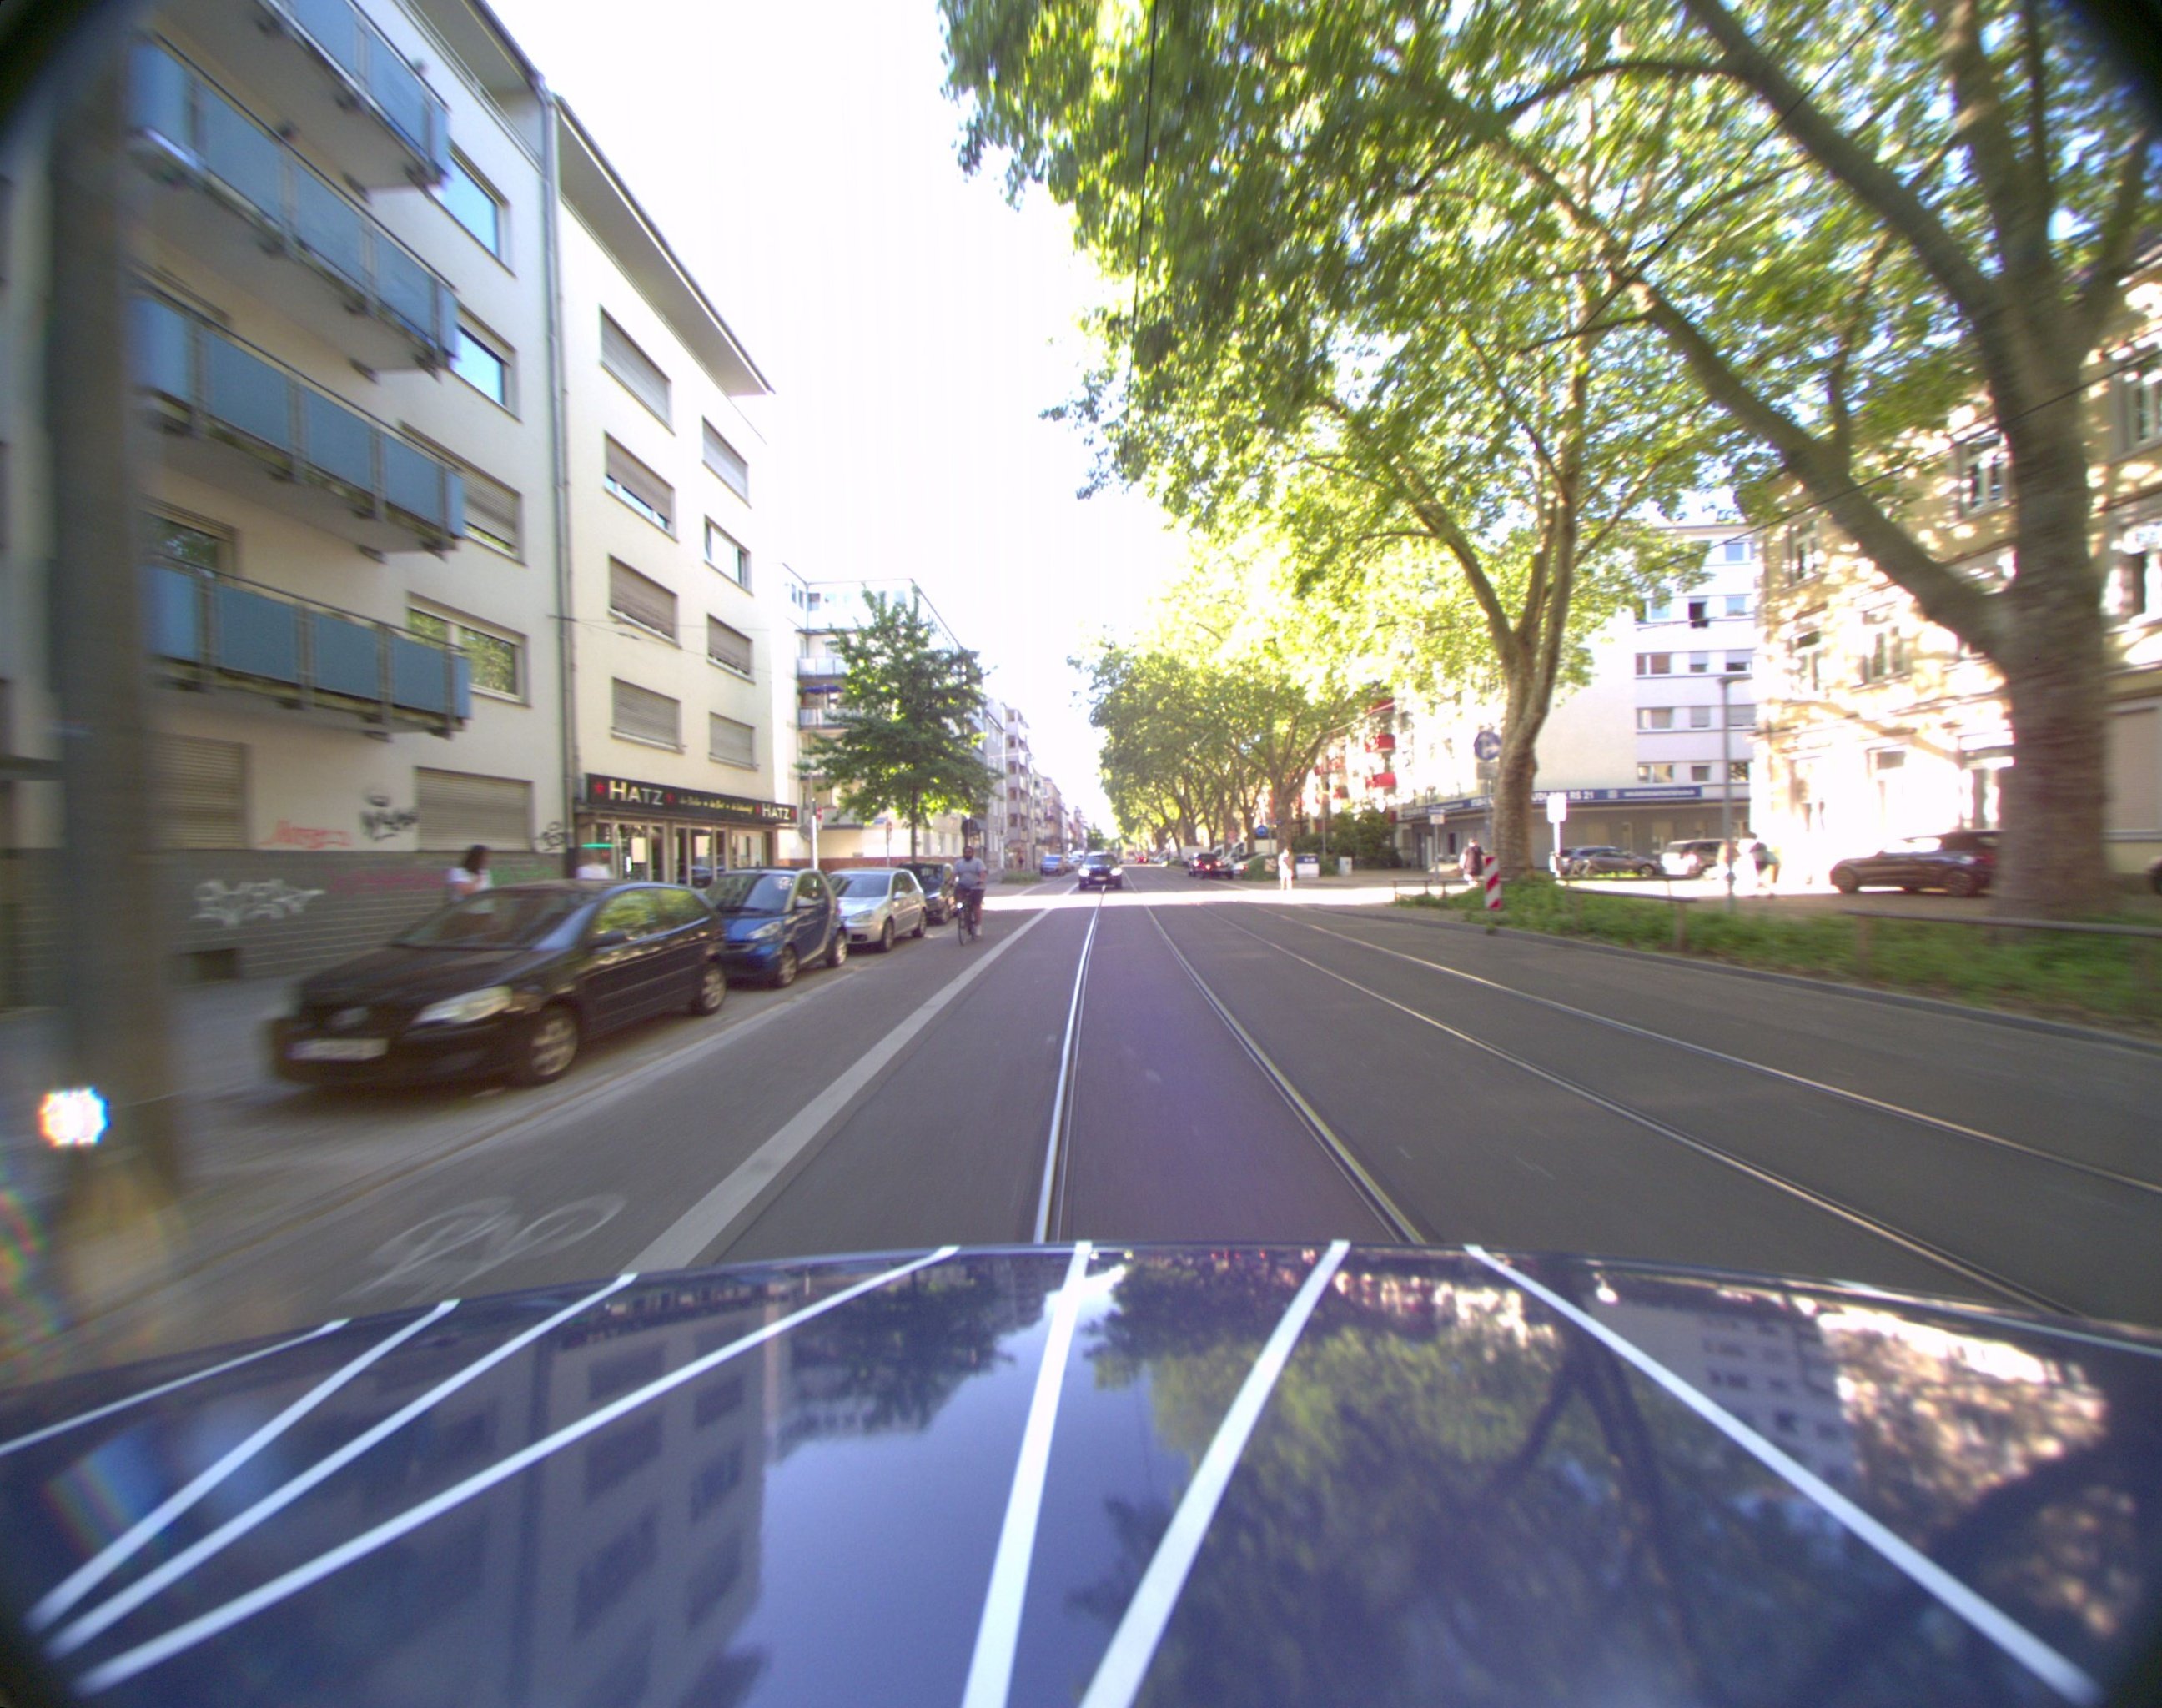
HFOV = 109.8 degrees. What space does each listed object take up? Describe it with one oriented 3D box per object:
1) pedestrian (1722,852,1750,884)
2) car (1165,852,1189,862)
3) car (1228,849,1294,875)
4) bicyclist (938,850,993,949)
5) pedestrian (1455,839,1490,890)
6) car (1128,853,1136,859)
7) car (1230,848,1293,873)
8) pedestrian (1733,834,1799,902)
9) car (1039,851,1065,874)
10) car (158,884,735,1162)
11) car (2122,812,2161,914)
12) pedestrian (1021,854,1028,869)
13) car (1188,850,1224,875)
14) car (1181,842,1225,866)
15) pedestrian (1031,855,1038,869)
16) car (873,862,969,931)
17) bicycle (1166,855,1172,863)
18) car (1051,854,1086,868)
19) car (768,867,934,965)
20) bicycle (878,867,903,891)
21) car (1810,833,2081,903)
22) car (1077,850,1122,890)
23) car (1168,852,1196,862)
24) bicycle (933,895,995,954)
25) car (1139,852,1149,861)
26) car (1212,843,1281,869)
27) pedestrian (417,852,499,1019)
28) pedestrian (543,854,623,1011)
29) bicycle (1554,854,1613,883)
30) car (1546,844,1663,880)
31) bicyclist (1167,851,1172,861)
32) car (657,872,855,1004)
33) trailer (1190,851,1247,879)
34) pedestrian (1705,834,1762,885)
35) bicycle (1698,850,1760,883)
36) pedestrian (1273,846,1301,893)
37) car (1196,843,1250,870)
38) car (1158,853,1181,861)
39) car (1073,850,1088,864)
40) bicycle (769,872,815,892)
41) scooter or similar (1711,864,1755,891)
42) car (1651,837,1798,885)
[{"bbox_3d":[21.538,0.449,24.979,0.544,1.034,0.545,-3,1,-31],"label":"pedestrian"},{"bbox_3d":[17.081,0.523,135.095,3.997,1.458,2.000,-2,1,1],"label":"car"},{"bbox_3d":[12.265,0.539,51.951,3.997,1.600,1.909,-2,1,1],"label":"car"},{"bbox_3d":[-2.235,0.852,14.785,0.769,1.821,1.099,-2,1,3],"label":"bicyclist"},{"bbox_3d":[13.710,0.360,26.636,0.740,1.747,0.734,-3,1,-19],"label":"pedestrian"},{"bbox_3d":[14.114,0.576,210.961,1.998,1.723,4.400,-2,0,3],"label":"car"},{"bbox_3d":[12.928,0.435,54.522,3.997,1.635,2.000,-2,1,1],"label":"car"},{"bbox_3d":[17.119,0.336,19.006,0.713,1.628,1.009,-2,1,0],"label":"pedestrian"},{"bbox_3d":[-2.583,0.743,69.480,1.957,1.914,4.000,-2,1,3],"label":"car"},{"bbox_3d":[-4.628,1.080,6.431,1.626,1.473,3.889,1,0,0],"label":"car"},{"bbox_3d":[19.243,0.133,11.024,1.998,1.726,4.696,-2,0,4],"label":"car"},{"bbox_3d":[-6.100,0.813,81.649,0.590,1.493,0.600,-2,1,2],"label":"pedestrian"},{"bbox_3d":[8.811,0.581,53.845,1.928,1.674,4.182,1,1,0],"label":"car"},{"bbox_3d":[13.768,-0.031,86.276,4.660,2.518,2.000,-2,1,2],"label":"car"},{"bbox_3d":[-5.861,0.986,95.345,0.697,1.685,0.678,-2,1,2],"label":"pedestrian"},{"bbox_3d":[-4.149,1.039,20.372,1.724,1.562,4.259,1,0,-1],"label":"car"},{"bbox_3d":[10.794,0.650,92.996,0.533,0.901,1.557,-2,1,3],"label":"bicycle"},{"bbox_3d":[-1.431,0.819,89.939,3.997,1.458,2.000,-2,1,1],"label":"car"},{"bbox_3d":[-4.185,1.052,14.572,1.791,1.528,4.128,1,0,2],"label":"car"},{"bbox_3d":[-9.638,1.262,38.497,0.616,1.144,1.996,-1,1,2],"label":"bicycle"},{"bbox_3d":[19.894,0.272,17.795,1.783,1.379,3.999,-2,0,0],"label":"car"},{"bbox_3d":[0.940,0.701,36.007,1.998,1.723,4.400,-1,1,3],"label":"car"},{"bbox_3d":[15.572,0.462,116.969,3.997,1.458,2.000,-2,1,1],"label":"car"},{"bbox_3d":[-2.228,1.334,14.757,0.790,0.932,1.939,-2,1,3],"label":"bicycle"},{"bbox_3d":[13.080,0.602,157.807,1.998,1.723,4.400,-2,0,3],"label":"car"},{"bbox_3d":[13.662,0.157,62.898,5.134,1.984,1.999,-2,1,-2],"label":"car"},{"bbox_3d":[-7.238,0.904,8.830,0.665,1.841,0.538,-2,1,-41],"label":"pedestrian"},{"bbox_3d":[-6.057,0.927,9.274,0.477,1.841,0.664,-2,1,0],"label":"pedestrian"},{"bbox_3d":[19.448,0.548,29.423,1.867,1.056,0.656,-2,1,-5],"label":"bicycle"},{"bbox_3d":[24.422,0.348,35.543,4.152,1.469,1.835,-2,1,2],"label":"car"},{"bbox_3d":[10.781,0.241,93.008,0.533,1.206,0.666,-2,1,3],"label":"bicyclist"},{"bbox_3d":[-4.378,1.049,10.663,1.447,1.528,2.881,1,0,2],"label":"car"},{"bbox_3d":[8.644,0.644,48.384,2.452,1.622,6.584,1,0,0],"label":"trailer"},{"bbox_3d":[19.687,0.156,22.956,0.774,1.470,1.069,-2,1,1],"label":"pedestrian"},{"bbox_3d":[22.857,0.427,26.804,1.868,1.055,0.656,-2,-3,-16],"label":"bicycle"},{"bbox_3d":[7.982,0.579,29.471,0.700,1.781,0.801,-2,1,-10],"label":"pedestrian"},{"bbox_3d":[13.310,0.214,71.535,4.660,2.292,2.000,-2,1,2],"label":"car"},{"bbox_3d":[16.455,0.568,141.253,3.997,1.458,1.792,-2,1,1],"label":"car"},{"bbox_3d":[-0.041,0.426,119.530,1.990,2.085,4.471,-2,1,3],"label":"car"},{"bbox_3d":[-14.584,1.422,38.324,2.109,0.986,0.607,-1,1,6],"label":"bicycle"},{"bbox_3d":[19.289,0.685,22.480,0.529,0.749,0.896,-2,1,1],"label":"scooter or similar"},{"bbox_3d":[24.814,0.292,29.429,4.011,1.627,1.801,-2,-3,2],"label":"car"}]
